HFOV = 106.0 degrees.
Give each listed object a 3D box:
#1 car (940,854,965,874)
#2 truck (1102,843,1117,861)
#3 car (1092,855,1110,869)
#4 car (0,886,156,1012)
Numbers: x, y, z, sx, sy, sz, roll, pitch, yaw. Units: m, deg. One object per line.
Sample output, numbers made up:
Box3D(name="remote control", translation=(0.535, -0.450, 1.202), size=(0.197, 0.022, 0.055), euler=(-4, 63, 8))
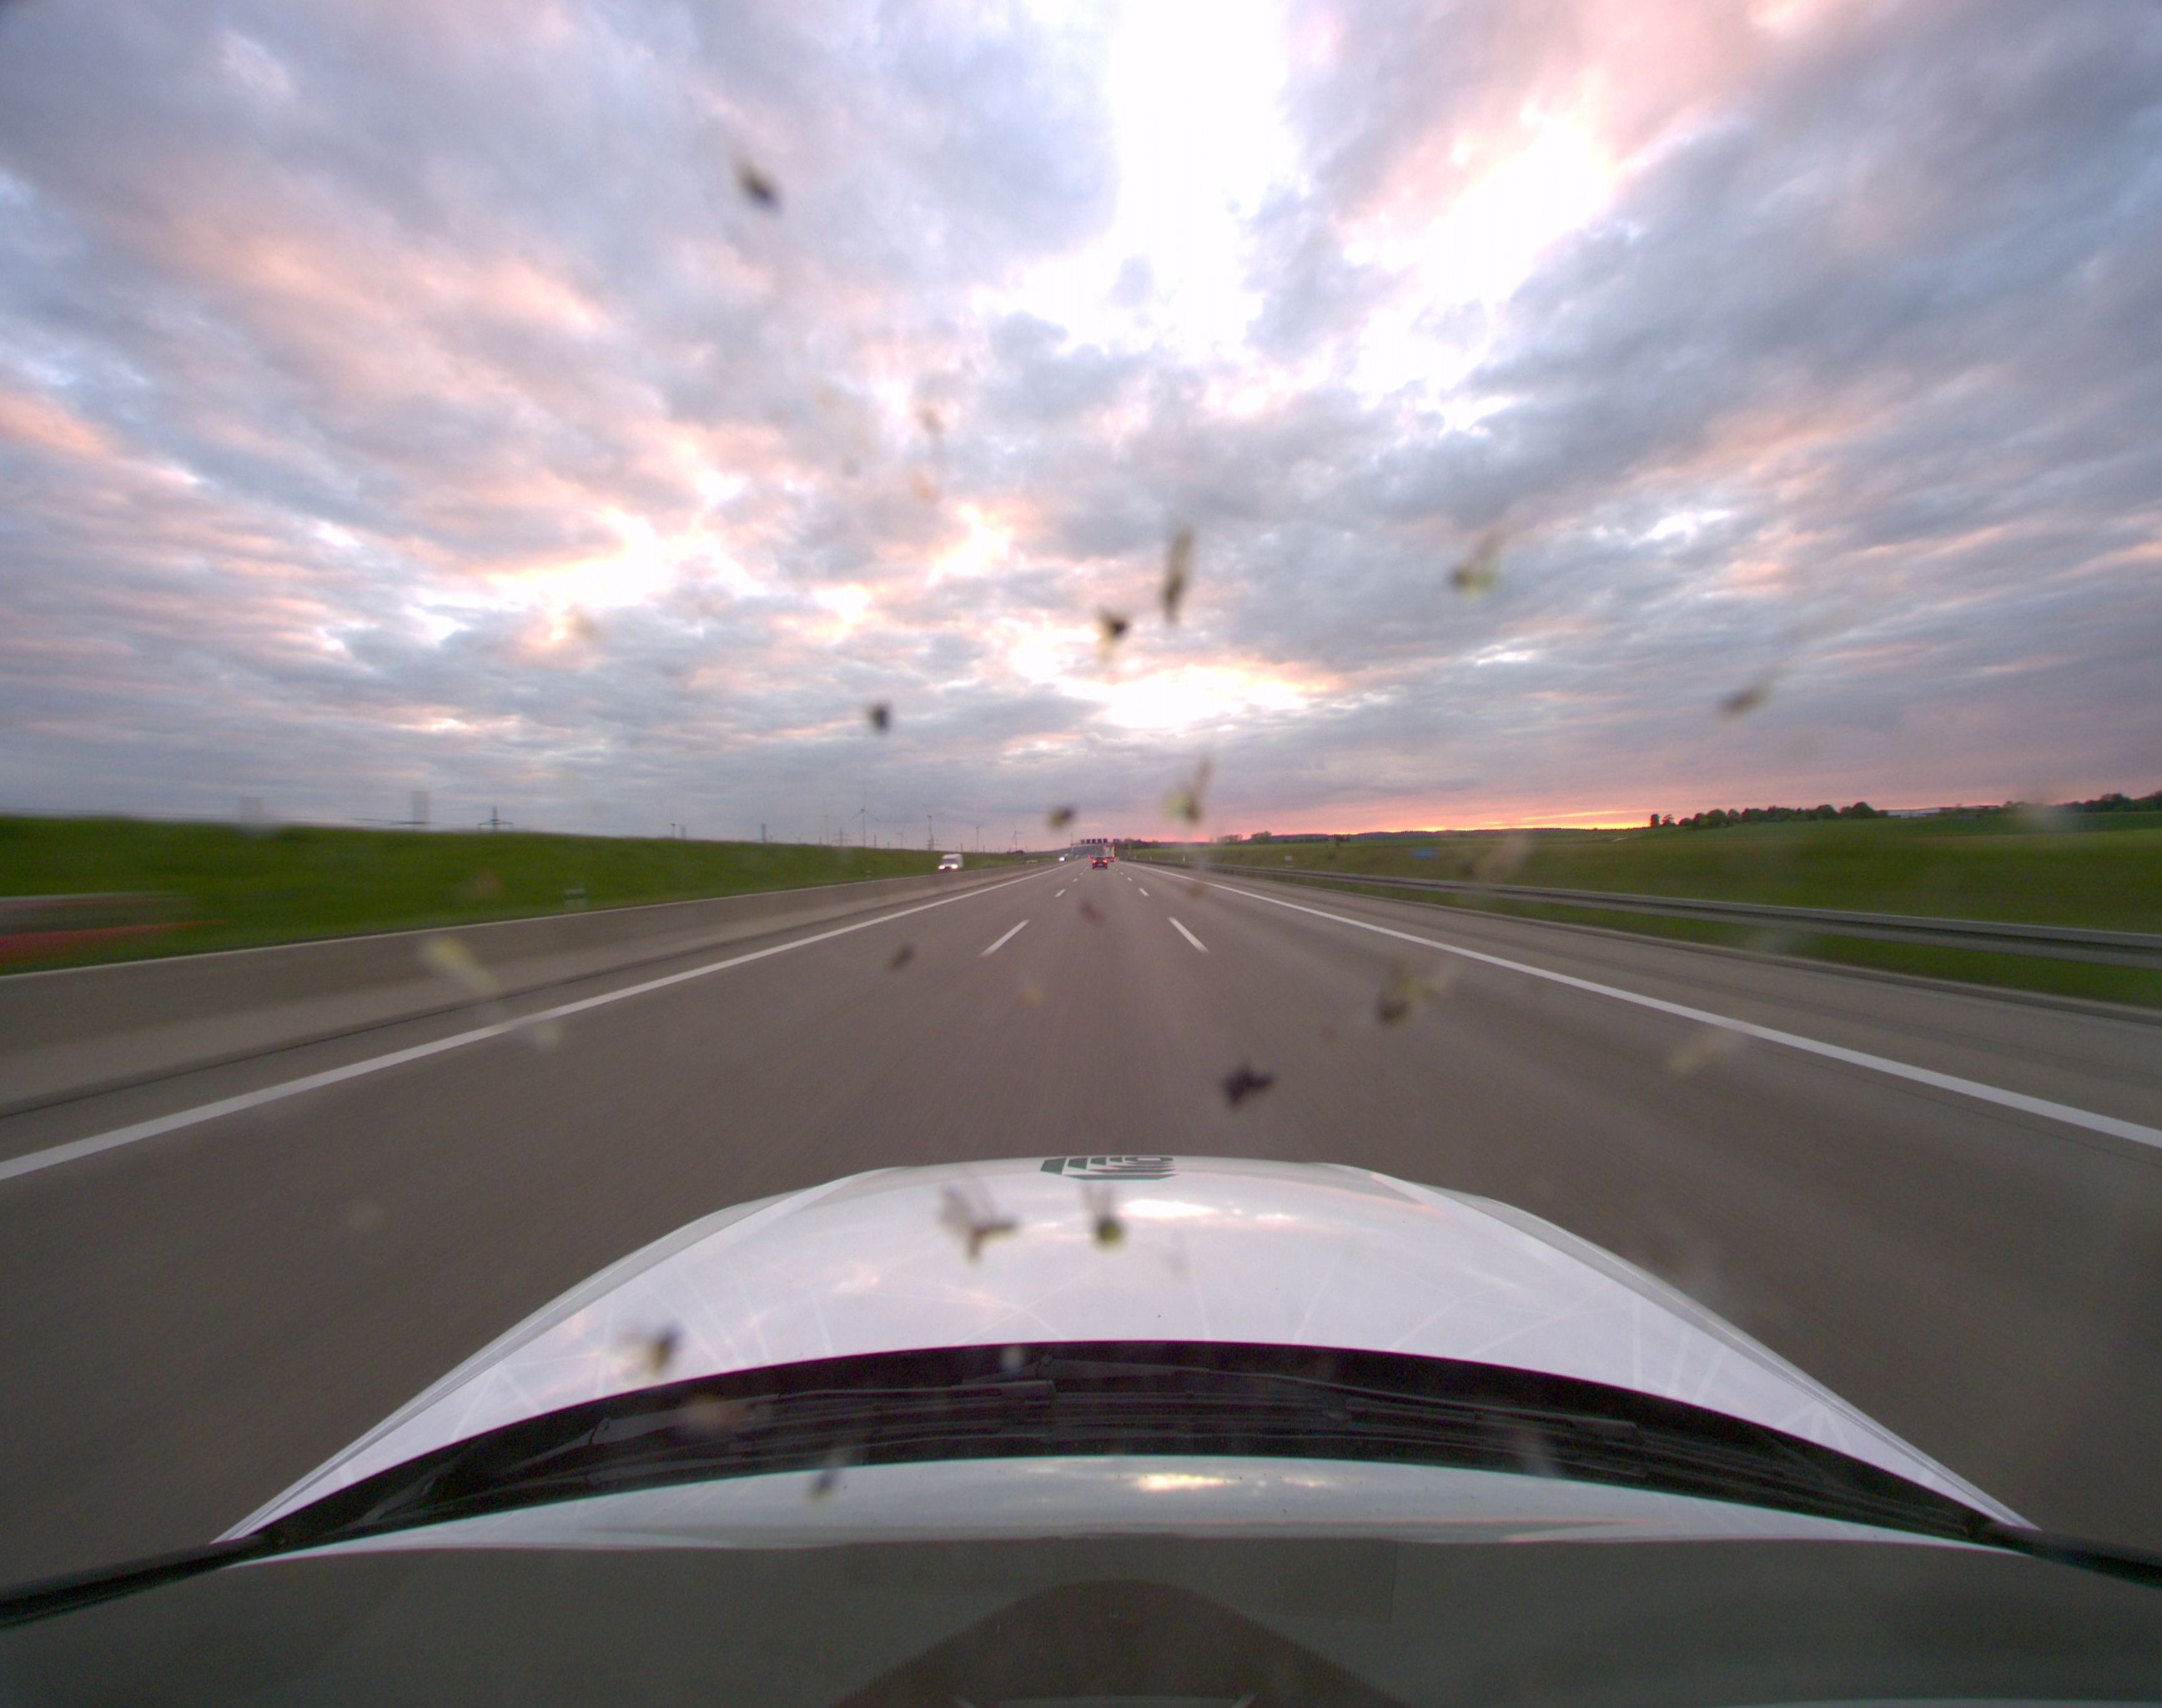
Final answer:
Box3D(name="car", translation=(-16.938, 1.291, 107.499), size=(1.986, 2.546, 7.378), euler=(-2, 0, 1))
Box3D(name="truck", translation=(7.641, -0.428, 218.901), size=(3.663, 4.565, 10.982), euler=(-2, 0, 1))
Box3D(name="car", translation=(2.311, 0.929, 94.345), size=(1.980, 1.429, 4.003), euler=(-2, 0, 2))
Box3D(name="car", translation=(-15.168, 1.322, 10.413), size=(1.846, 1.592, 4.108), euler=(-2, 0, 2))
